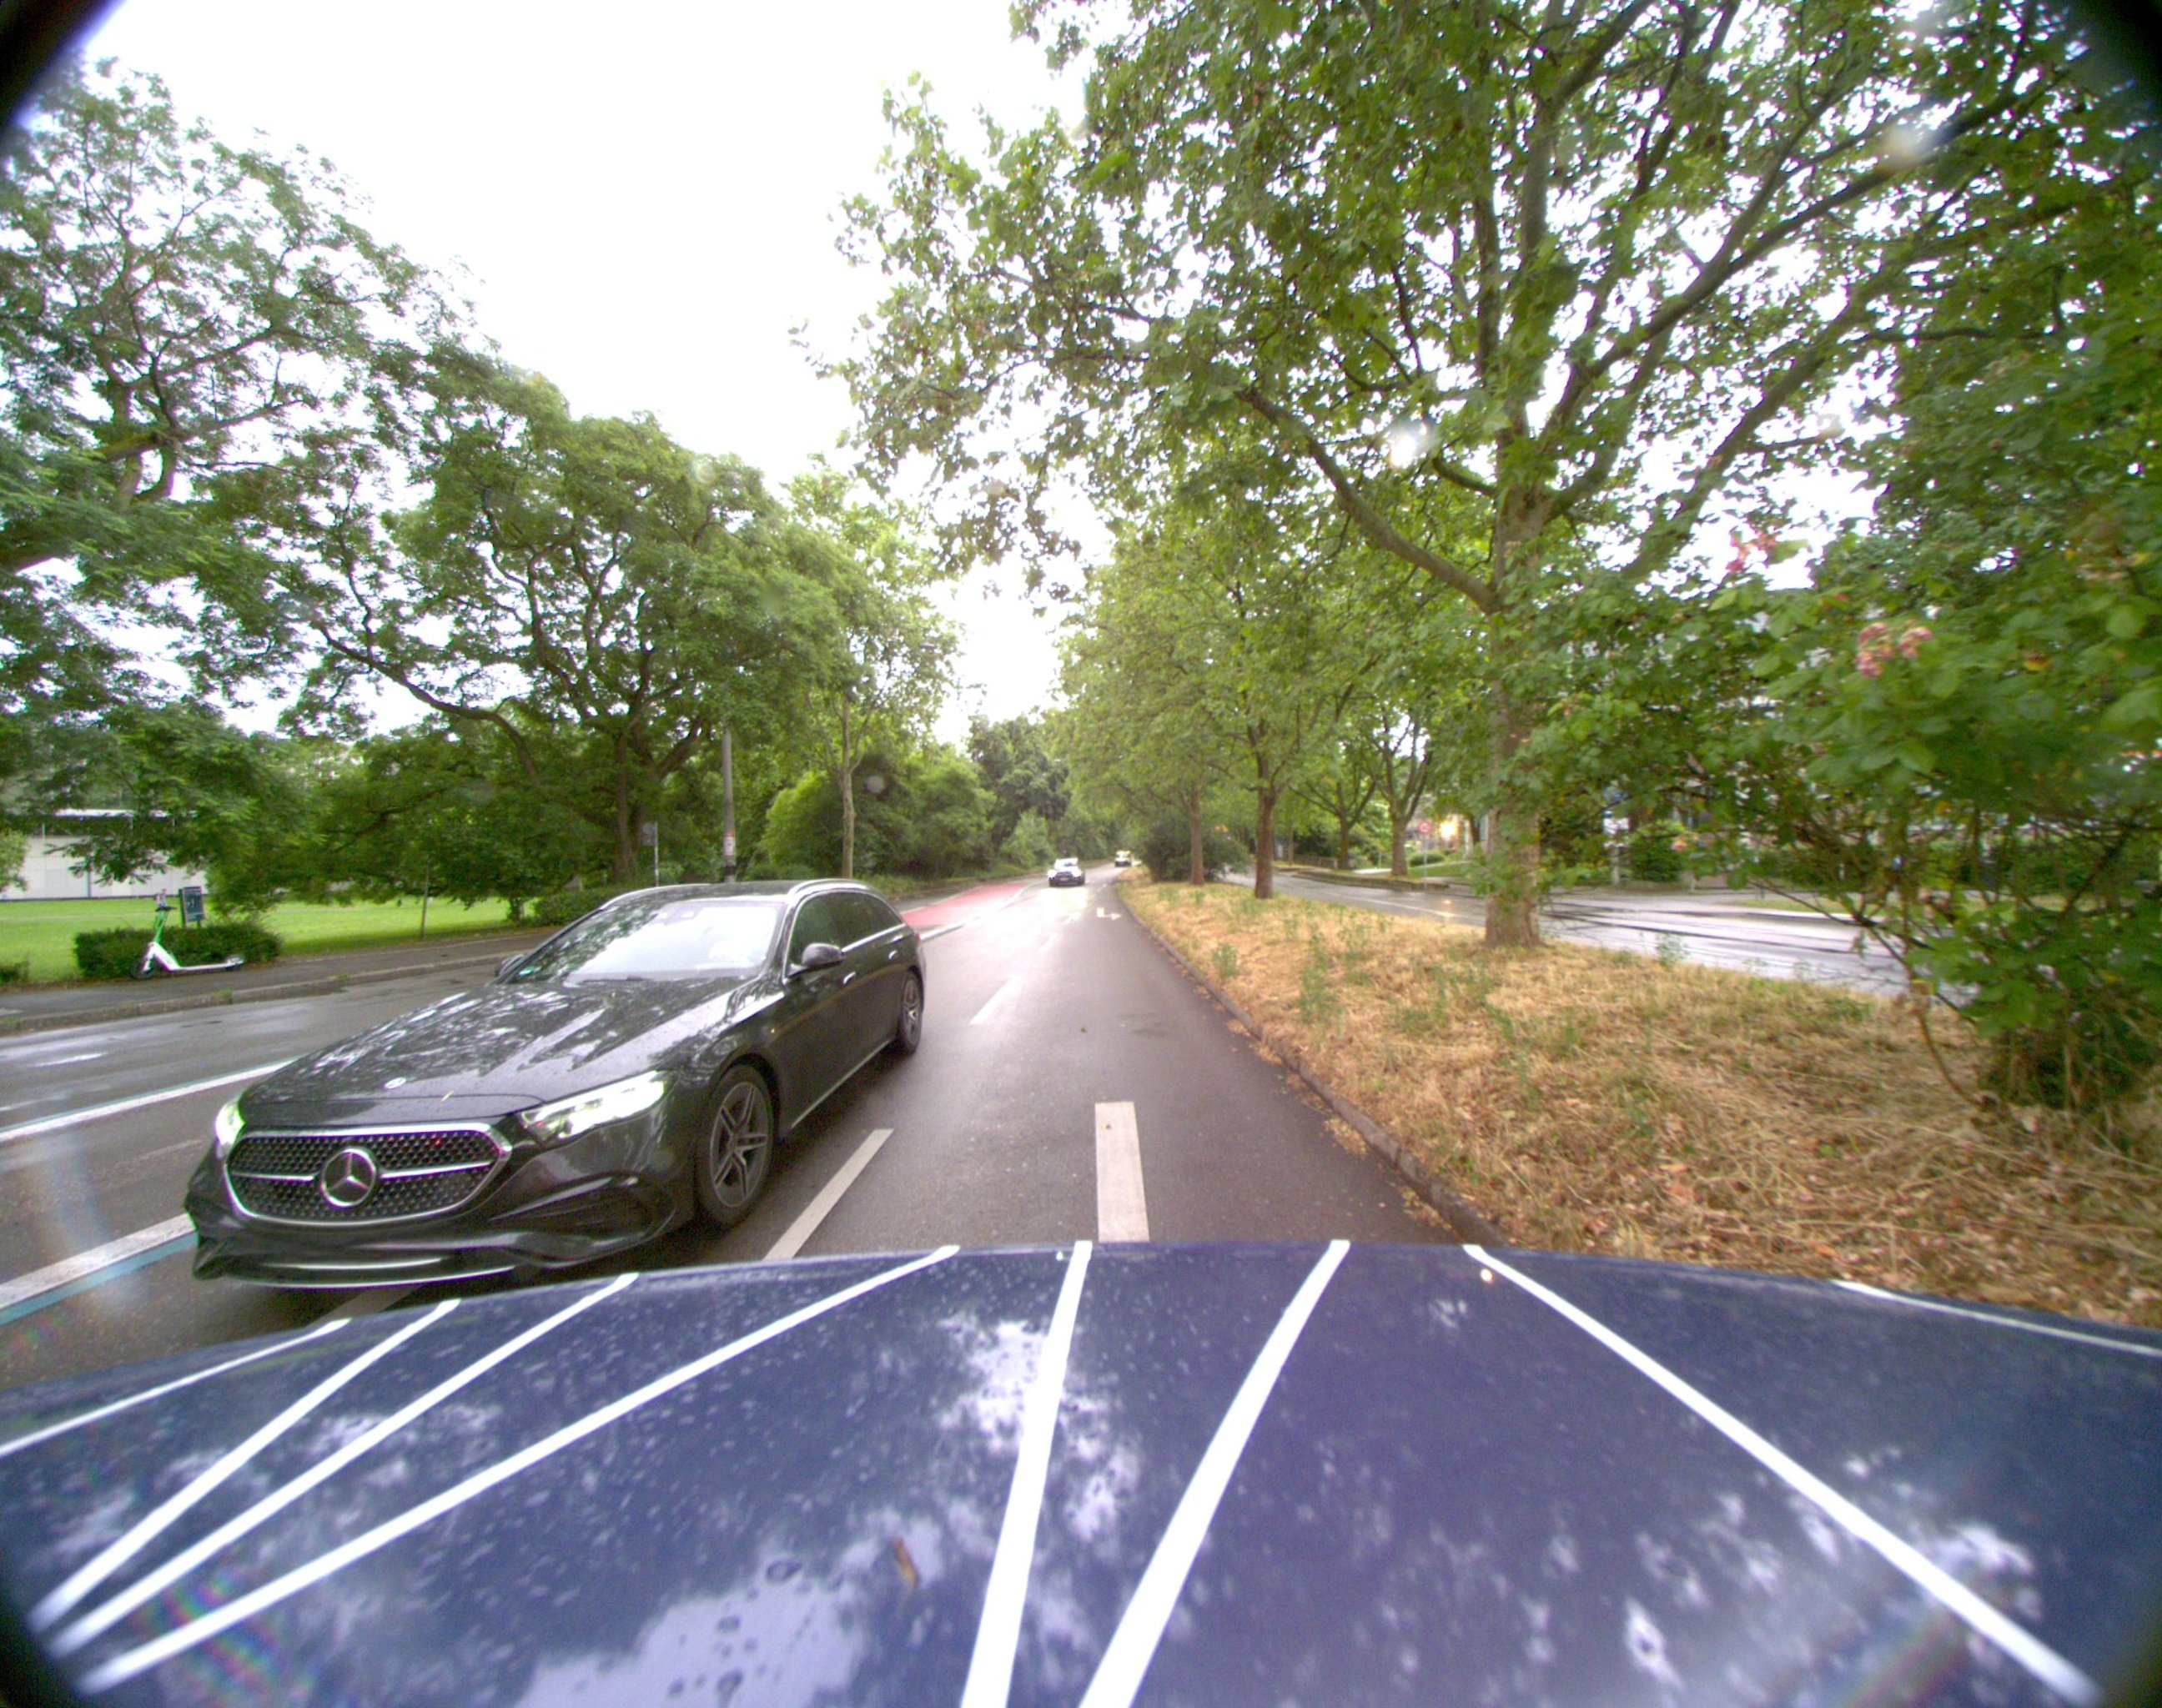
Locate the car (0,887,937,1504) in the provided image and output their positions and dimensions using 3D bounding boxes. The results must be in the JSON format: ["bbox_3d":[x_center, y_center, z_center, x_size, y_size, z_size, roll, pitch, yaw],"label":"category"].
[{"bbox_3d":[-2.324,1.055,4.556,1.884,1.437,4.930,-3,0,0],"label":"car"}]

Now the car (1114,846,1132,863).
[{"bbox_3d":[5.133,0.077,92.221,1.883,1.865,4.744,-3,0,7],"label":"car"}]

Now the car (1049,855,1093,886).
[{"bbox_3d":[-0.569,0.948,46.408,1.832,1.599,4.579,-2,1,10],"label":"car"}]

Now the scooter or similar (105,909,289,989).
[{"bbox_3d":[-14.566,1.521,12.598,0.557,1.095,1.894,2,0,22],"label":"scooter or similar"}]
